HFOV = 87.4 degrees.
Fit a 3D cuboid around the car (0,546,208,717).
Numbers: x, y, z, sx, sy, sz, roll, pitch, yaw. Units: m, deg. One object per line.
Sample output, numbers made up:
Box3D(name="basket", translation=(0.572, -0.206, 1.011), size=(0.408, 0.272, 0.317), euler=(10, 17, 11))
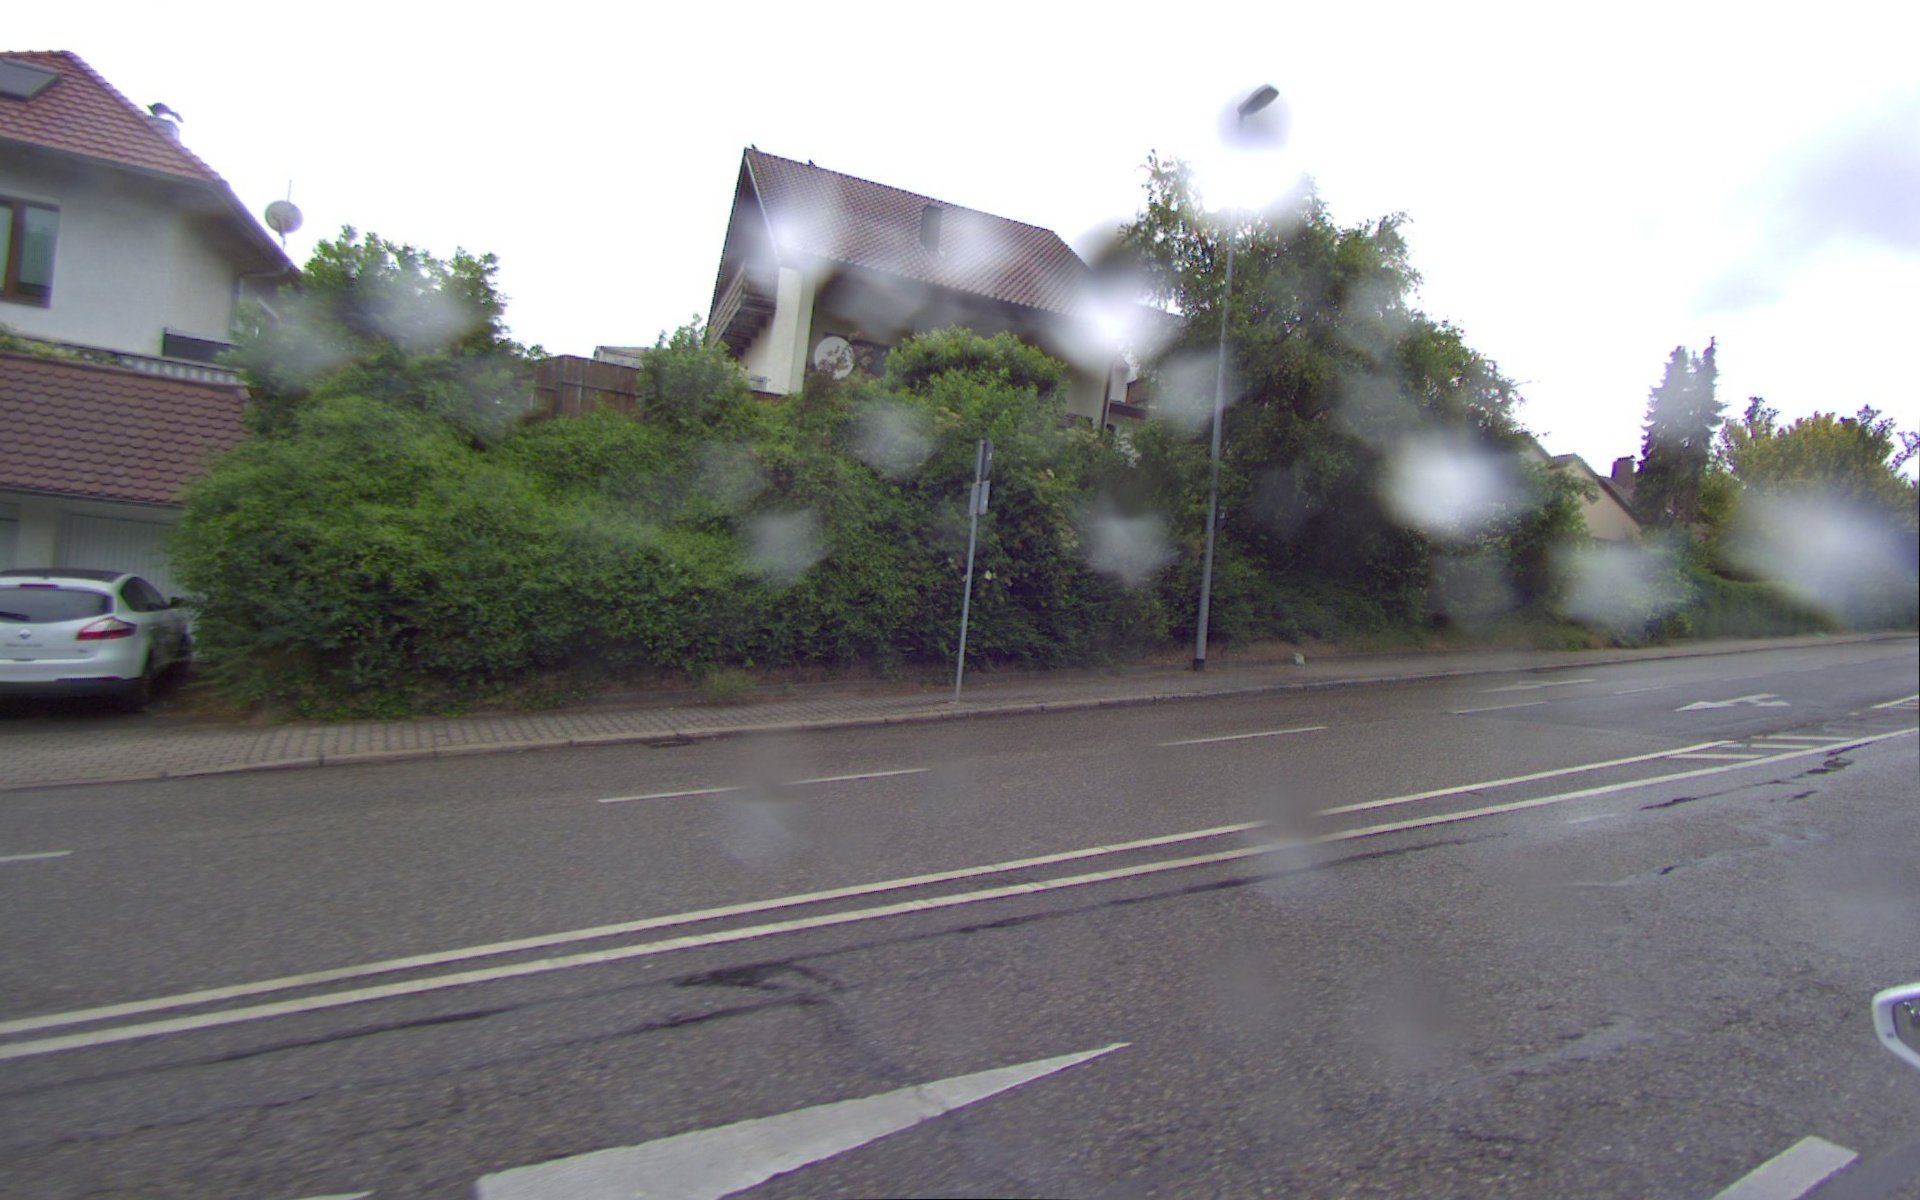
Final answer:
Box3D(name="car", translation=(-10.109, 0.241, 11.573), size=(1.789, 1.460, 3.882), euler=(1, 5, -29))
